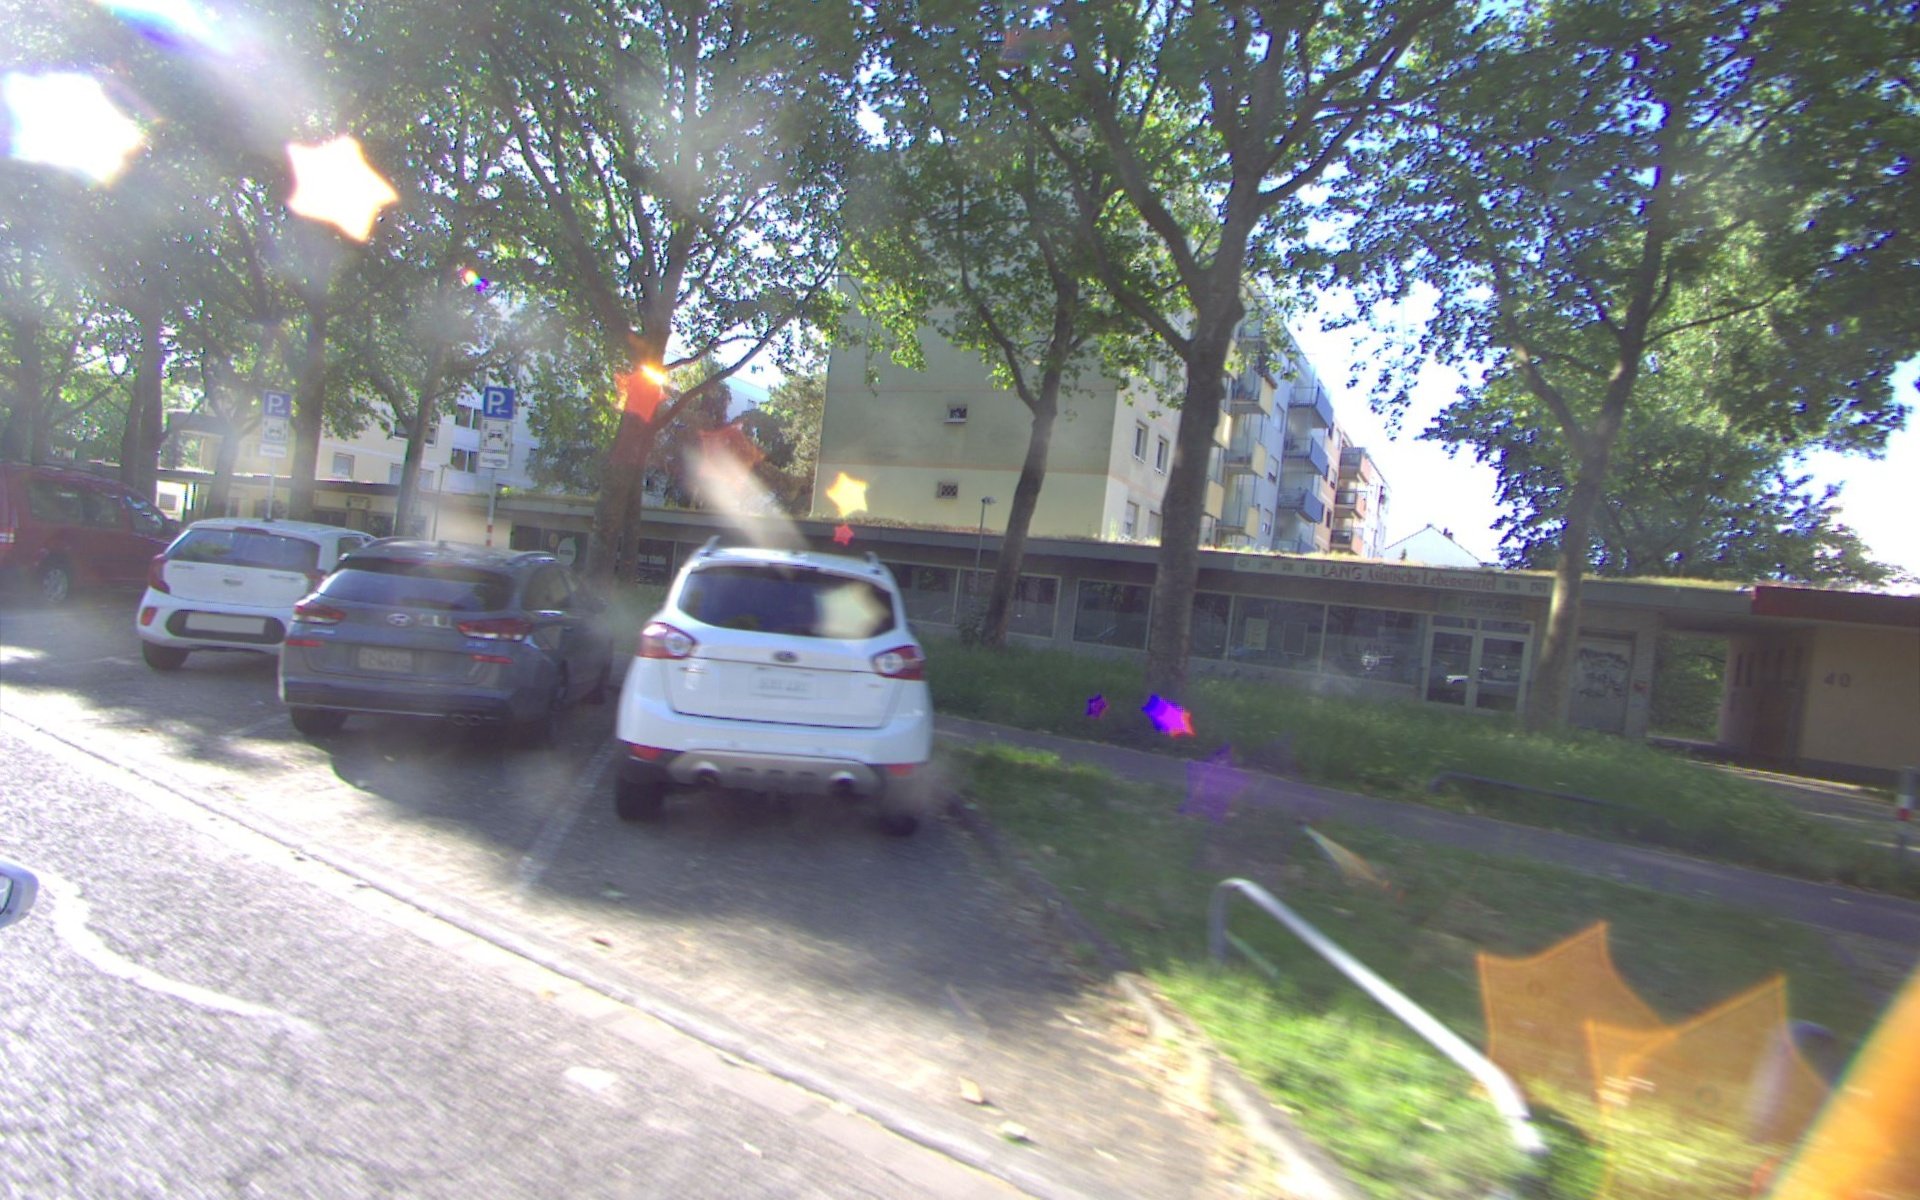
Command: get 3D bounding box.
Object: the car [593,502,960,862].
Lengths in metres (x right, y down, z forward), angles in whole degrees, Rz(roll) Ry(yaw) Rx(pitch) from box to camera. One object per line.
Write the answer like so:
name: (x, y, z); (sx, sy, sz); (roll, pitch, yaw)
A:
car: (-1.242, 0.413, 7.232); (1.730, 1.727, 4.020); (6, 1, -9)

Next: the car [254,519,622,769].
car: (-4.001, 0.259, 8.422); (1.624, 1.489, 3.778); (6, 1, -11)

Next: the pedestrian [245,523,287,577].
pedestrian: (-26.955, -1.938, 39.055); (0.855, 1.938, 0.875); (7, 1, 23)

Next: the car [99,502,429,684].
car: (-7.125, -0.102, 10.753); (1.625, 1.467, 3.616); (6, 1, -14)

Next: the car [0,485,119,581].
car: (-15.864, -1.141, 16.002); (1.621, 1.500, 4.081); (6, 1, -4)

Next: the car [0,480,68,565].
car: (-19.062, -1.564, 18.679); (1.751, 1.602, 4.076); (6, 1, -10)

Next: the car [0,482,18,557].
car: (-21.595, -1.826, 20.083); (1.749, 1.602, 4.082); (6, 1, -3)

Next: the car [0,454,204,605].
car: (-12.691, -0.972, 13.956); (1.622, 1.834, 4.078); (6, 1, -8)
